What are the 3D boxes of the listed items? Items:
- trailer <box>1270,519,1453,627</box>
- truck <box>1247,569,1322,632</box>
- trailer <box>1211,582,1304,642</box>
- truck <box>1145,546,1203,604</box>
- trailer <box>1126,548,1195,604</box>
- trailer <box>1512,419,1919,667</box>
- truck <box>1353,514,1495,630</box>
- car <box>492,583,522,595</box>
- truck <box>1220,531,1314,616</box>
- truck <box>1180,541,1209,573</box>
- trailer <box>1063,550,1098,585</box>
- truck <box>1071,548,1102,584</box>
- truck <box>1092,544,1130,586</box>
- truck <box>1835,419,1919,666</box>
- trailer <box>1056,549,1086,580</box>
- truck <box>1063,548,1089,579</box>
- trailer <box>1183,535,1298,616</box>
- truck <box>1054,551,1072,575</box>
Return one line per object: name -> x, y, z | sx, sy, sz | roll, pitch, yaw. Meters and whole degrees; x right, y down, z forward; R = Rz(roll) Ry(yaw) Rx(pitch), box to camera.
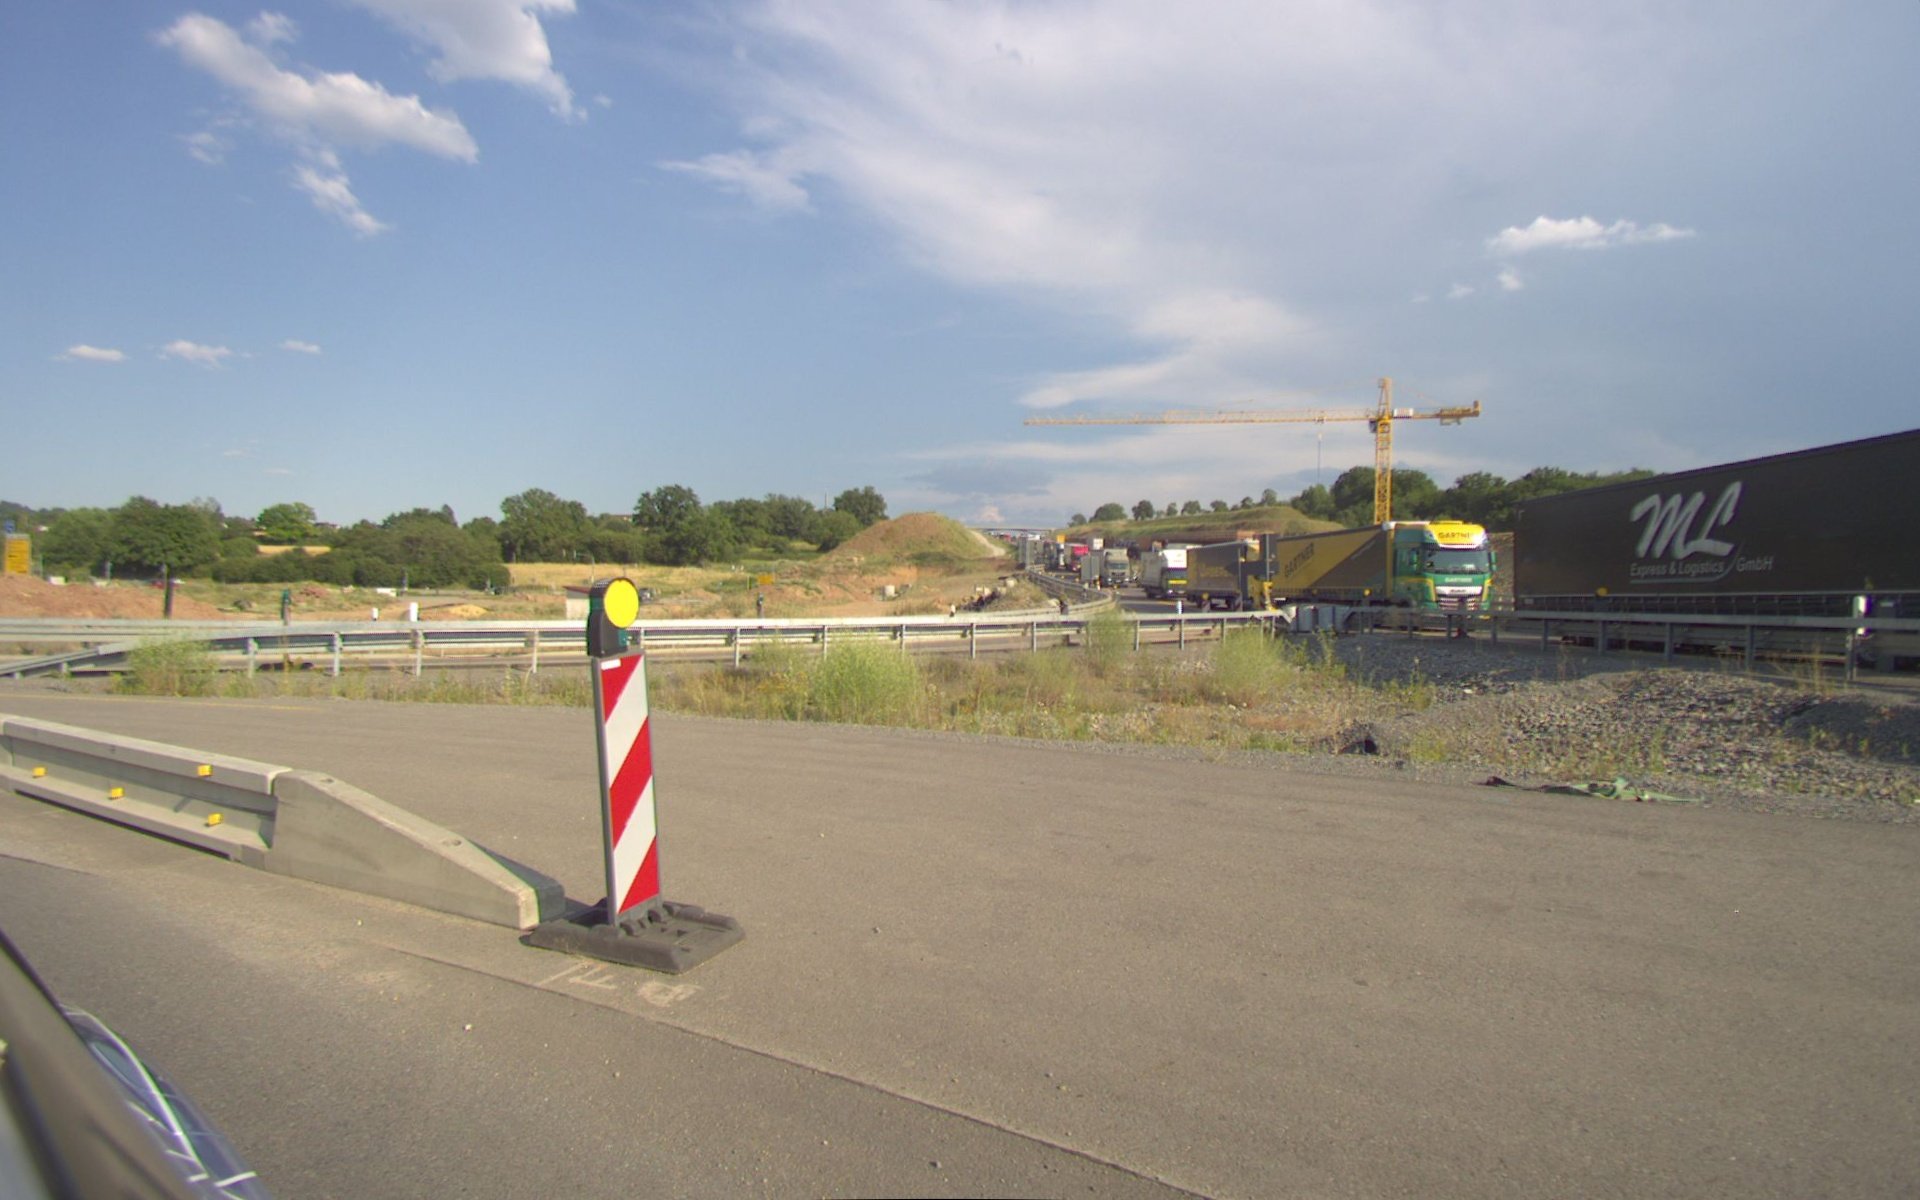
trailer -> 16.973, -1.061, 44.397 | 2.453, 3.988, 13.975 | 0, 1, 0
truck -> 21.839, 0.031, 68.435 | 2.817, 4.026, 6.625 | 0, 0, 0
trailer -> 21.799, 0.772, 75.264 | 2.826, 4.026, 13.477 | 0, 0, 0
truck -> 16.943, -1.918, 80.628 | 3.071, 4.346, 6.895 | 2, 0, 1
trailer -> 16.999, -1.963, 86.926 | 3.070, 4.346, 14.249 | 2, 0, 0
trailer -> 17.030, -0.990, 22.067 | 2.453, 4.092, 13.631 | 0, 1, 0
truck -> 17.000, -0.984, 37.520 | 2.454, 3.931, 6.011 | 0, 0, 0
car -> -63.001, -1.535, 140.900 | 1.695, 1.530, 4.506 | 3, 0, 7
truck -> 16.898, -1.415, 56.272 | 3.071, 4.346, 6.895 | 2, 0, 1
truck -> 37.628, -6.847, 162.946 | 3.533, 4.445, 13.136 | 2, 0, 9
trailer -> 16.311, -4.347, 138.226 | 3.070, 4.346, 14.249 | 2, 0, 0
truck -> 16.295, -4.323, 130.634 | 3.071, 4.346, 6.895 | 2, 0, 1
truck -> 16.476, -3.718, 110.735 | 3.071, 4.346, 6.895 | 2, 0, 1
truck -> 17.151, -0.940, 15.317 | 2.453, 4.090, 6.013 | 0, 0, -1
trailer -> 17.174, -5.423, 157.352 | 3.070, 4.346, 14.249 | 2, 0, 0
truck -> 17.138, -5.382, 149.782 | 3.071, 4.346, 6.895 | 2, 0, 1
trailer -> 16.919, -1.379, 62.521 | 3.070, 4.346, 14.249 | 2, 0, 0
truck -> 18.032, -6.467, 178.025 | 2.489, 4.031, 8.548 | 2, 0, 2
